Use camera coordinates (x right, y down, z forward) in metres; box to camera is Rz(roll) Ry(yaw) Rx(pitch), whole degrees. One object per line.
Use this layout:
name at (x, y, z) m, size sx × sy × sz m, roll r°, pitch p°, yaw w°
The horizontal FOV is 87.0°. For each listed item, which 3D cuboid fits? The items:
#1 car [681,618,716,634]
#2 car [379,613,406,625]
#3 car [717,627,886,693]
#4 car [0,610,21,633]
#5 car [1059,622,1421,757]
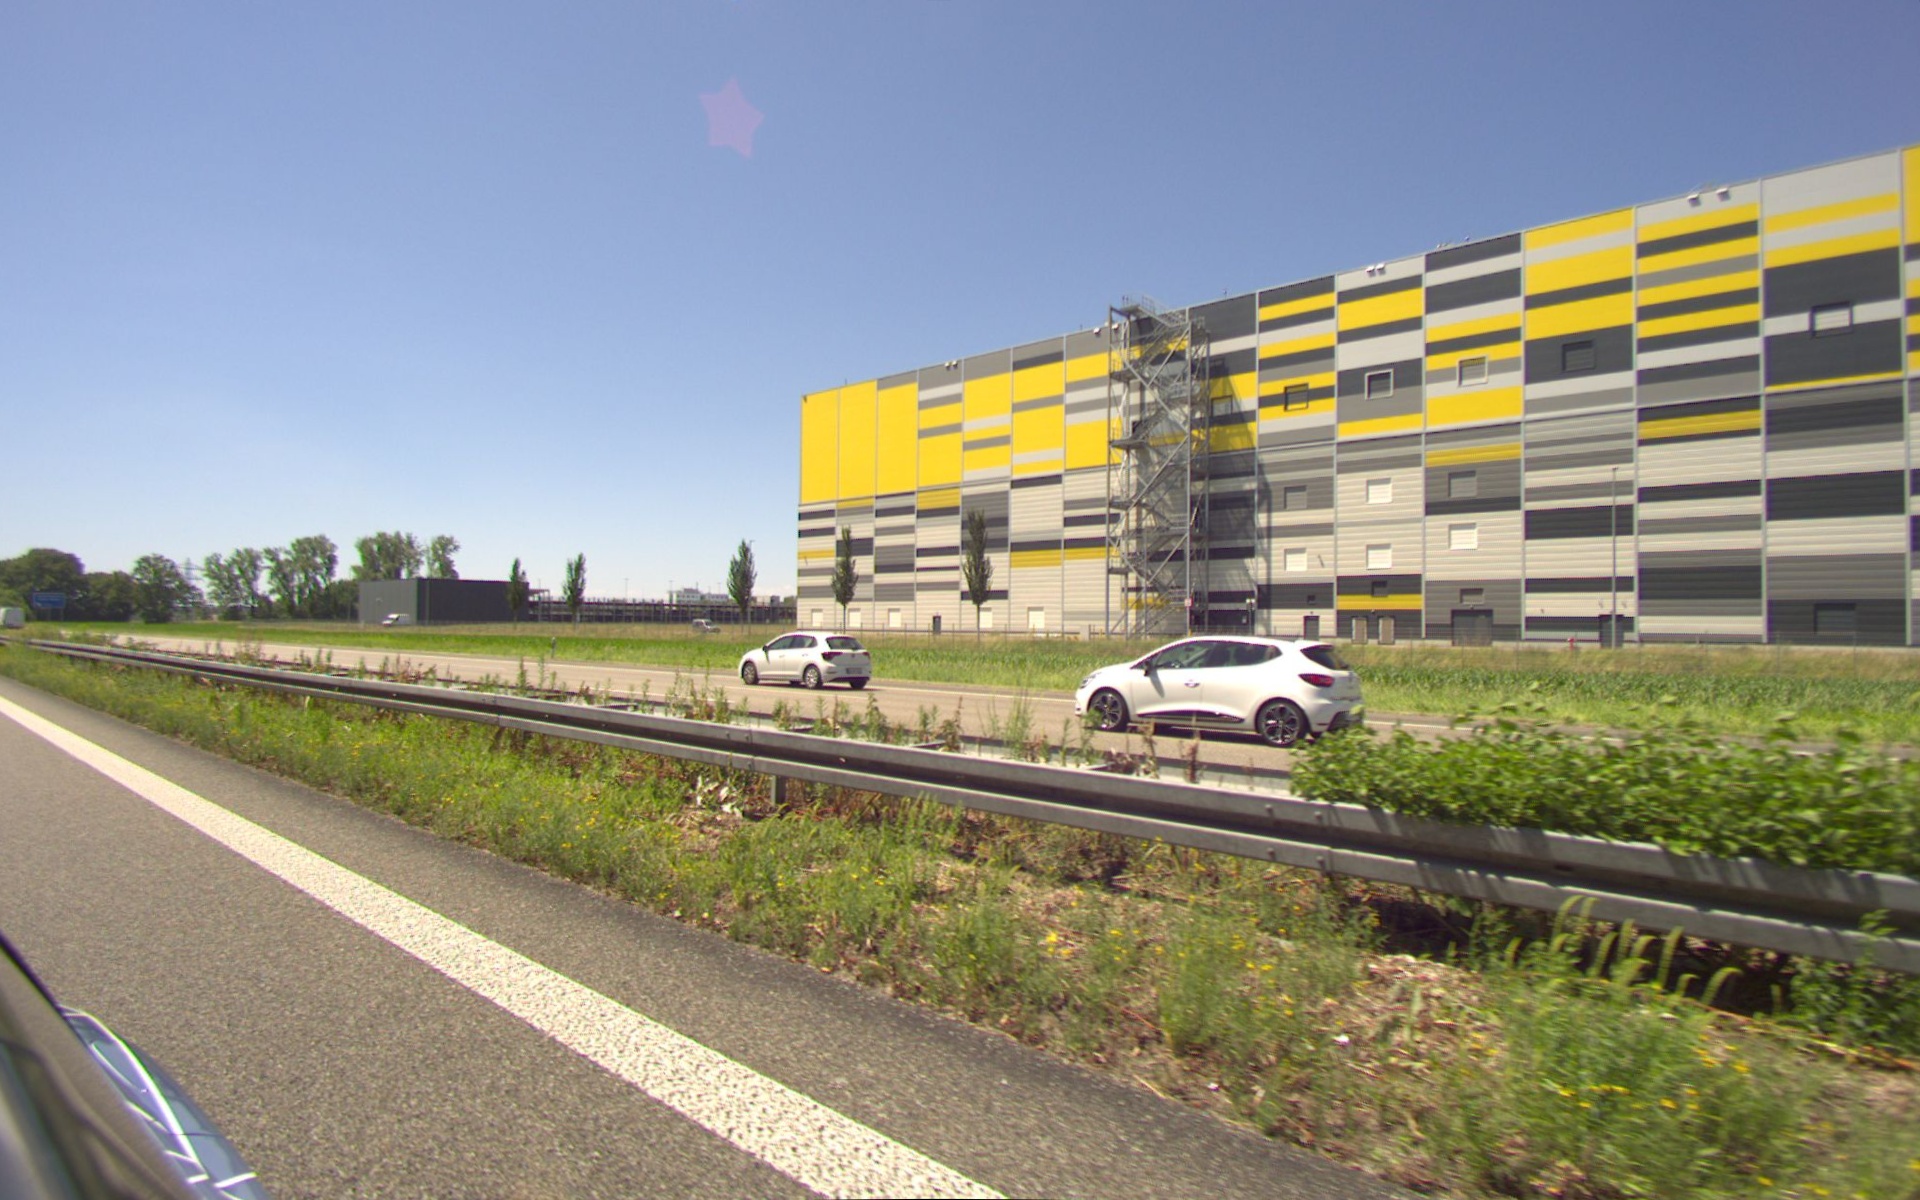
car at (-30.670, 3.039, 118.693) m, size 4.266 × 1.750 × 1.808 m, roll -1°, pitch -3°, yaw 41°
car at (-108.380, 3.698, 193.305) m, size 6.078 × 2.265 × 2.527 m, roll -1°, pitch -3°, yaw 41°
car at (-4.205, 1.511, 26.437) m, size 4.629 × 1.544 × 1.781 m, roll -1°, pitch -2°, yaw 41°
car at (-108.569, 2.450, 114.930) m, size 7.931 × 2.574 × 2.046 m, roll -1°, pitch -3°, yaw 41°
car at (3.694, 1.095, 13.884) m, size 4.482 × 1.544 × 1.780 m, roll -1°, pitch -2°, yaw 42°
